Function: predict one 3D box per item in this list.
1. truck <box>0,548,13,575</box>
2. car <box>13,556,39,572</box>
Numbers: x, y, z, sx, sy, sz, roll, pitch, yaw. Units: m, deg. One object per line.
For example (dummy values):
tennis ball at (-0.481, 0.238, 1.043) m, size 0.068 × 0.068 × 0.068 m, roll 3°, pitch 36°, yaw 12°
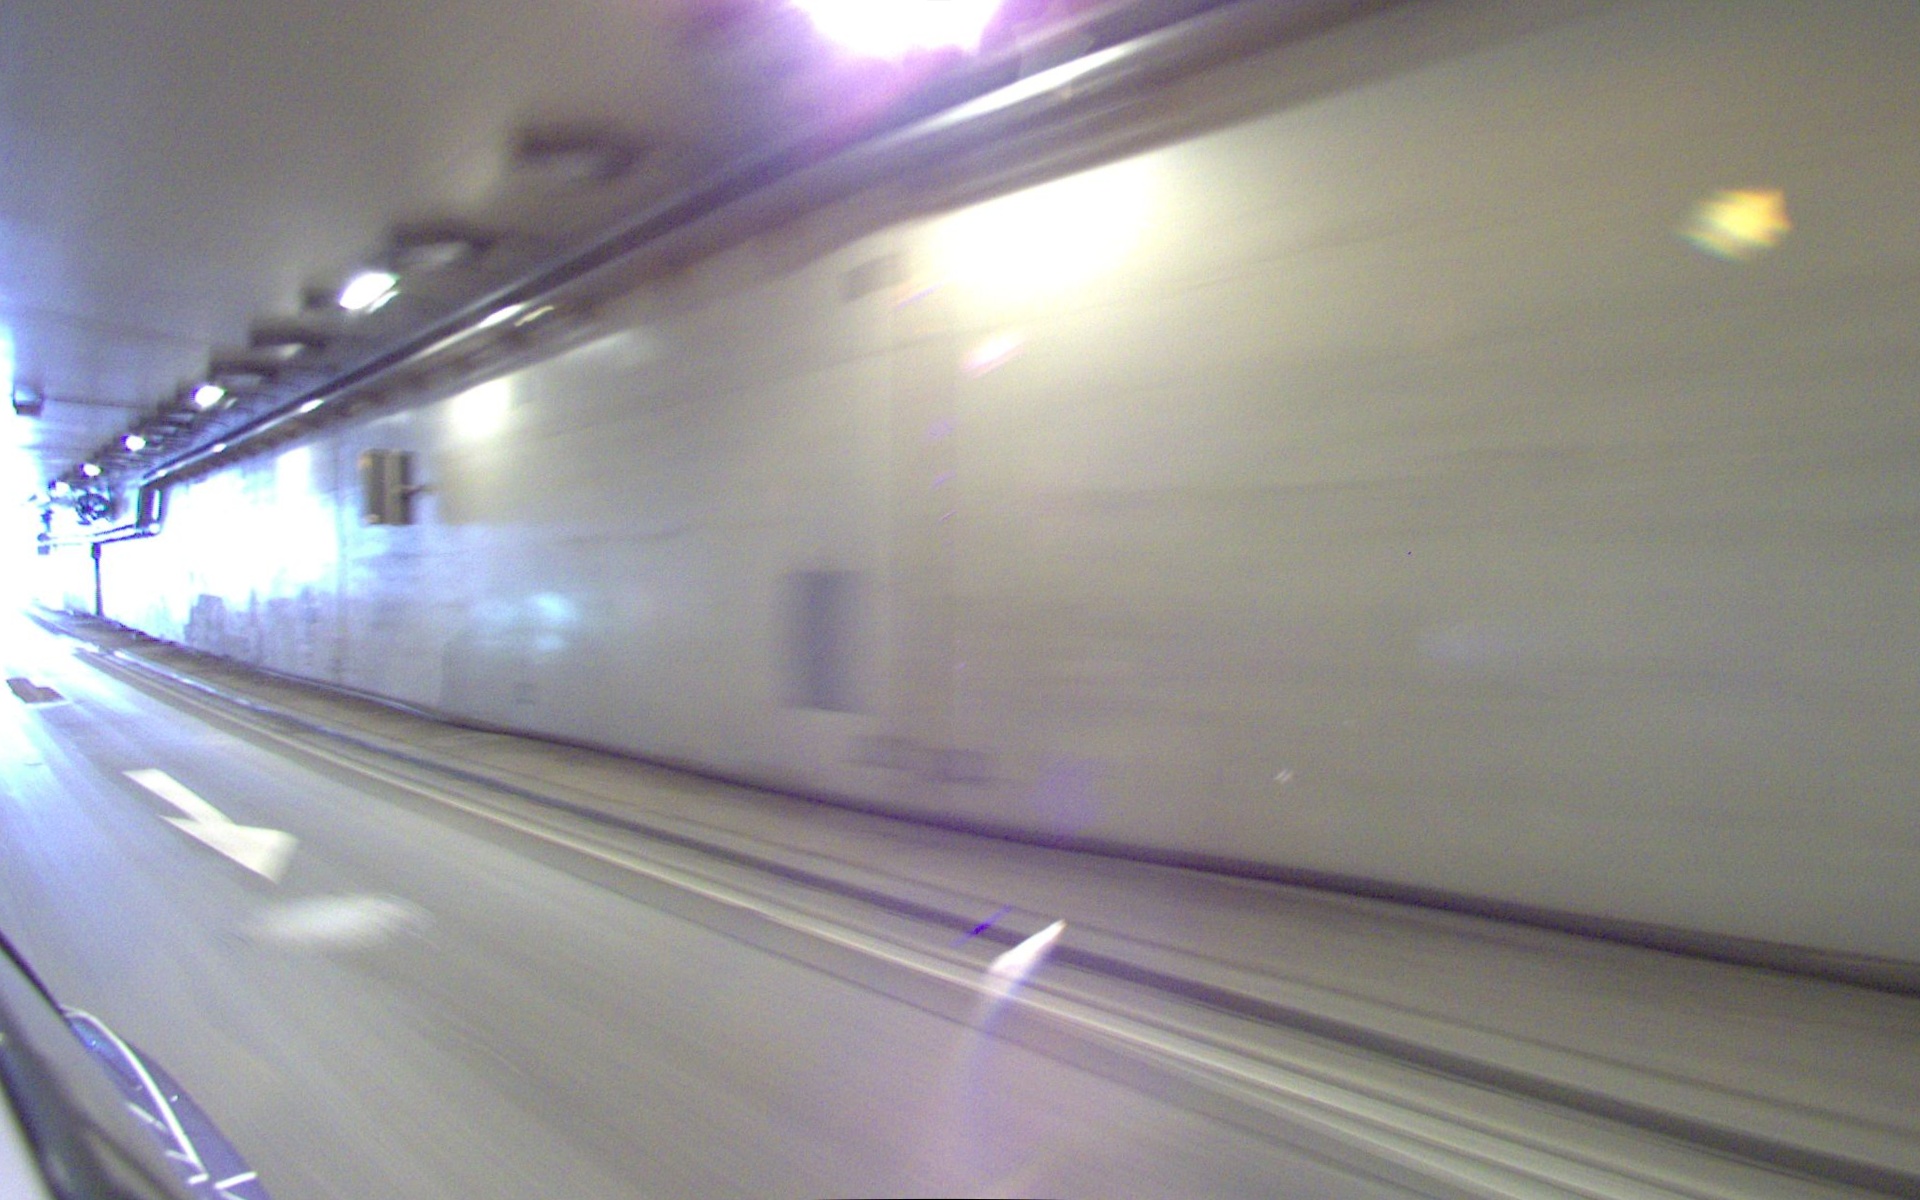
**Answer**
truck at (-104.201, -4.222, 109.645) m, size 2.108 × 2.748 × 5.677 m, roll -4°, pitch 5°, yaw -43°
car at (-100.896, -3.897, 109.303) m, size 1.923 × 1.544 × 4.003 m, roll -4°, pitch 7°, yaw -44°
